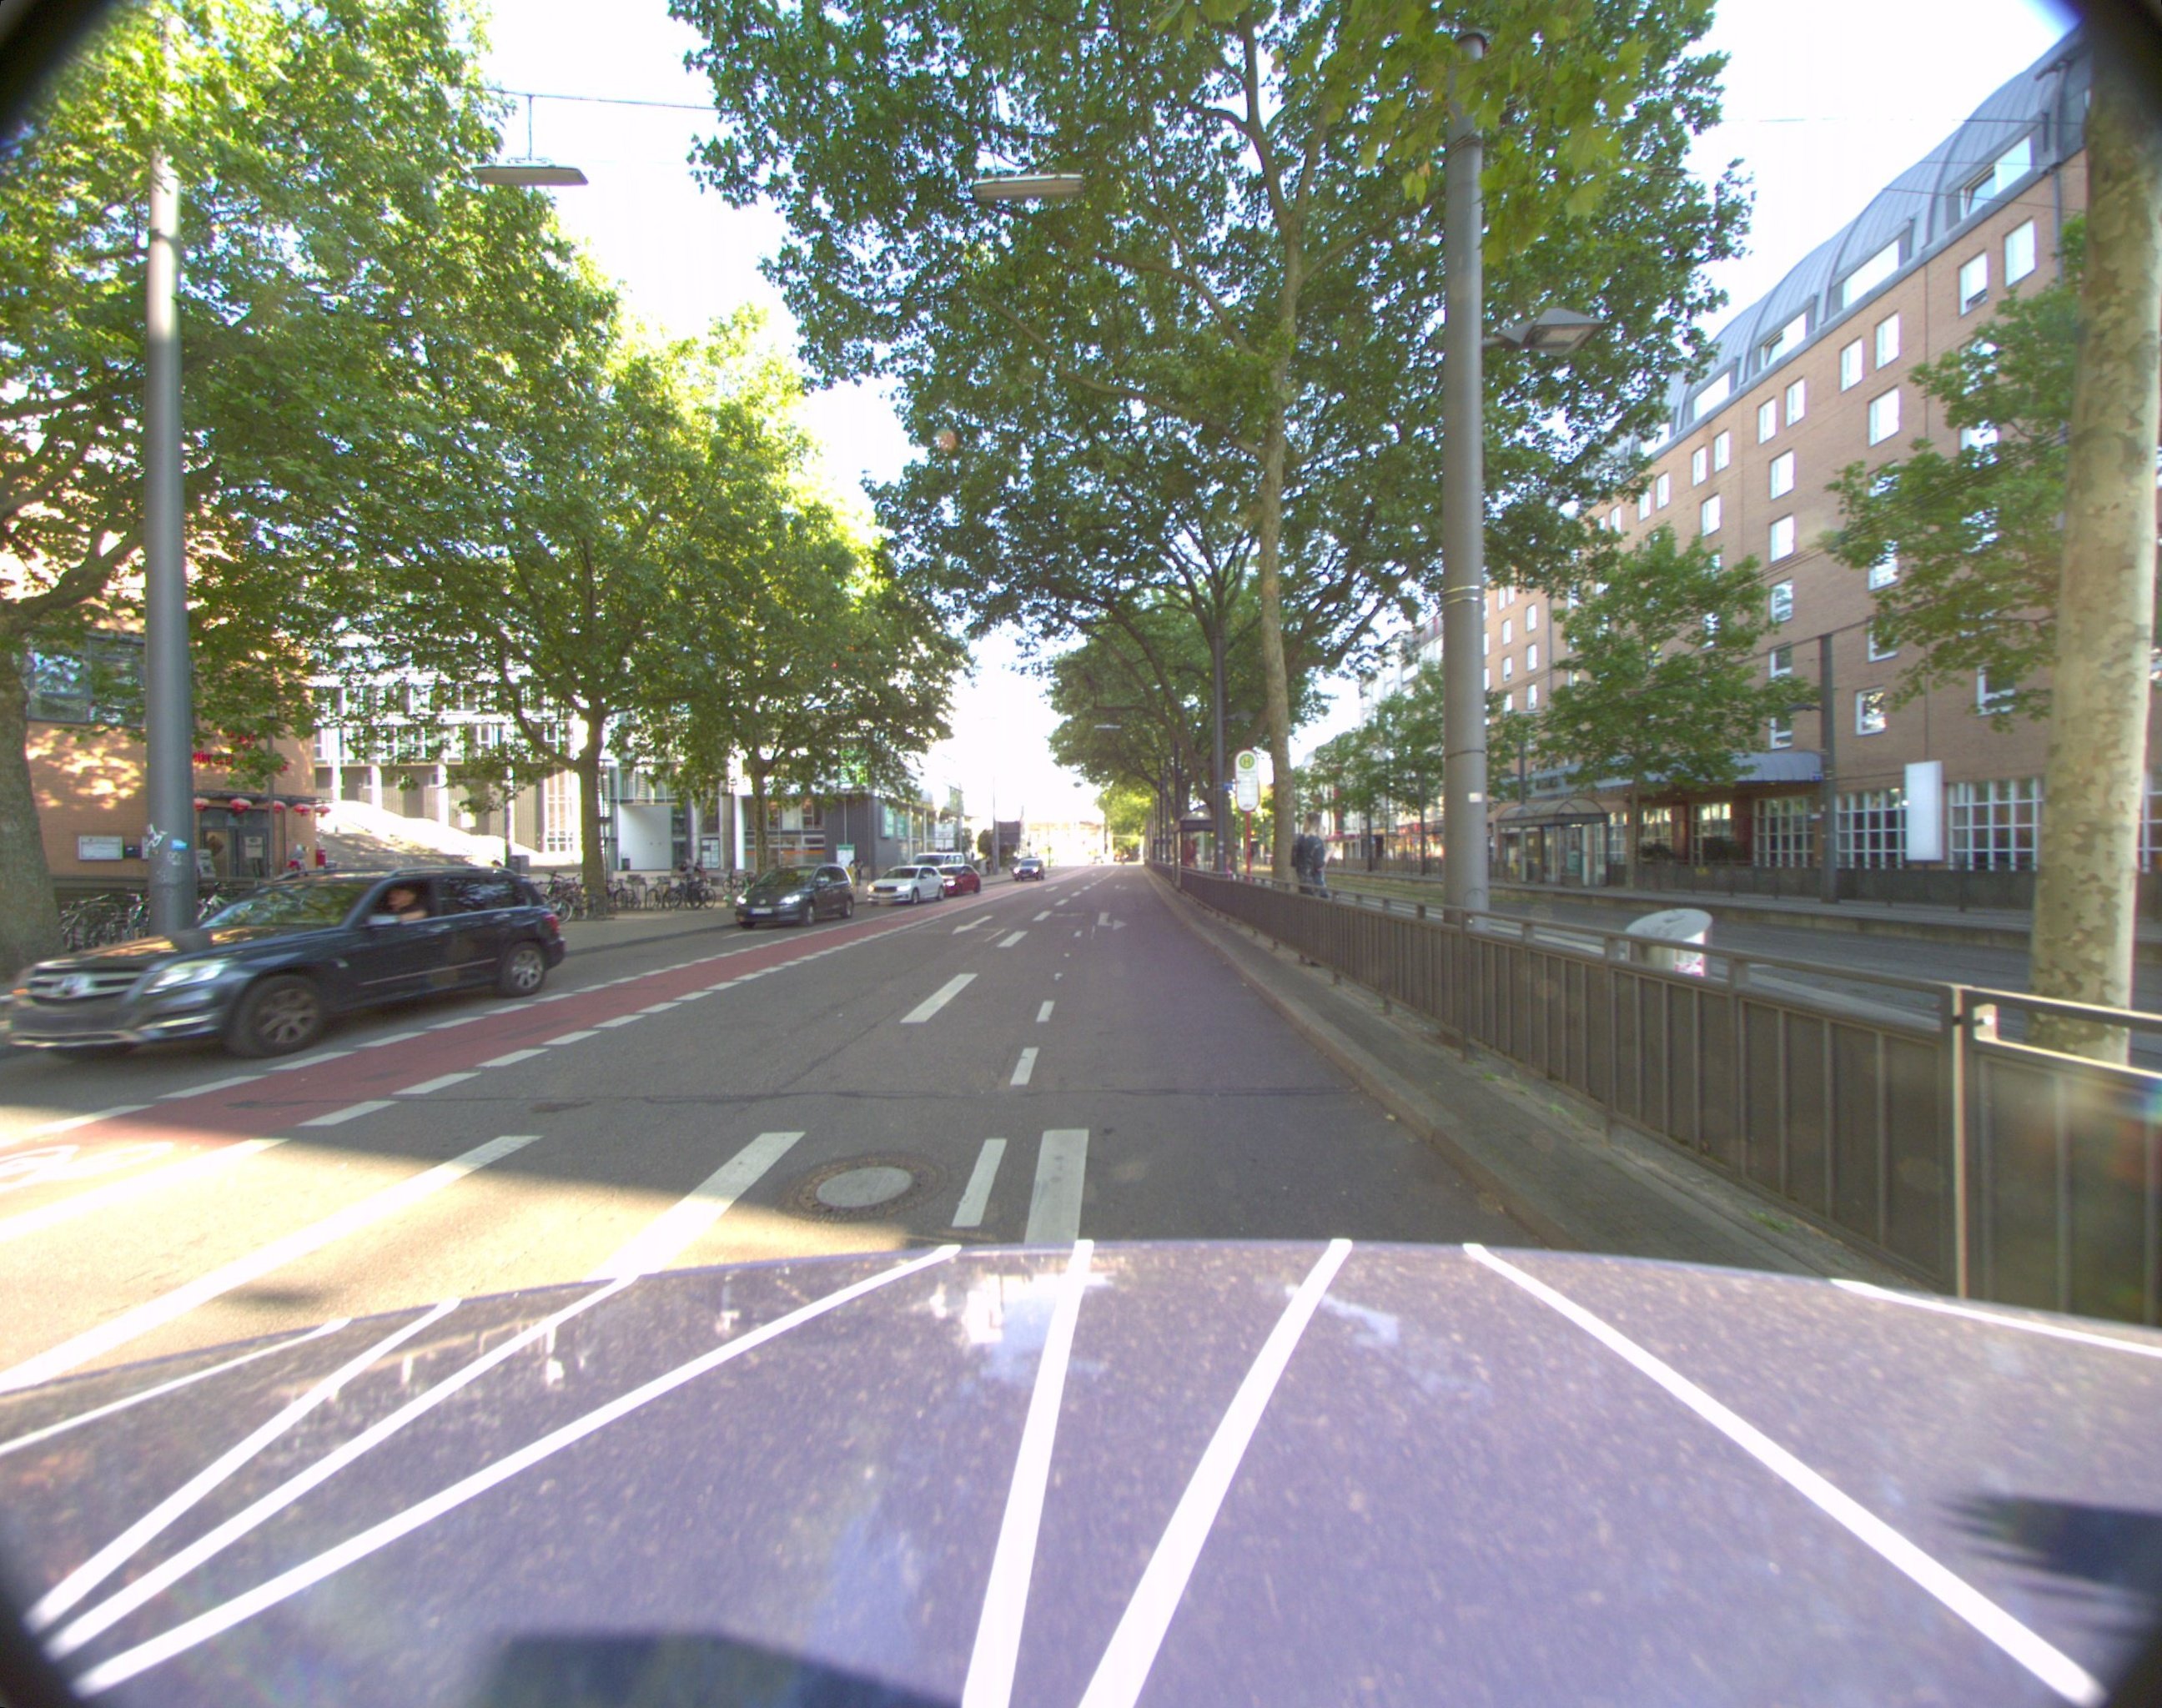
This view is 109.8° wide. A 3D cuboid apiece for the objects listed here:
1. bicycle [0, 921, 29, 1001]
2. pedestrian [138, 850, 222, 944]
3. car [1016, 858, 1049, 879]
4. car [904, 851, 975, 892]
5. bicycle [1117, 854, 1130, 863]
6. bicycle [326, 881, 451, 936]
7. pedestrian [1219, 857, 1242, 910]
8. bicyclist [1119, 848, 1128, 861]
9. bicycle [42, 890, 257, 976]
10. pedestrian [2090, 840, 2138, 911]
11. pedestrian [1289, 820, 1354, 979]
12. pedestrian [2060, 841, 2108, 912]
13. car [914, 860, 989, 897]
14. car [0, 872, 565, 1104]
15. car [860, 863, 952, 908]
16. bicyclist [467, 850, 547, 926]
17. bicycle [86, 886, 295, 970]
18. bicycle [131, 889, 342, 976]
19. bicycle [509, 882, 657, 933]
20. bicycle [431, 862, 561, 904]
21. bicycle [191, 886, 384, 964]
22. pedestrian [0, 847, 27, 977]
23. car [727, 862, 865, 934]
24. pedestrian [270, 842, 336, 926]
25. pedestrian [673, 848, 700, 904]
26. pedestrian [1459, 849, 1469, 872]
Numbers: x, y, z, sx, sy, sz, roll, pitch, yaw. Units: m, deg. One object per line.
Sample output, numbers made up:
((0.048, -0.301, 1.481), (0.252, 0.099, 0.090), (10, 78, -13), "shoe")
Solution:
((-13.403, 1.320, 7.995), (0.925, 0.943, 2.637), (-2, 1, 1), "bicycle")
((-22.701, 1.046, 19.150), (1.048, 2.235, 1.221), (-1, 1, 38), "pedestrian")
((-3.673, 1.092, 58.408), (1.784, 1.481, 4.197), (-3, 0, 7), "car")
((-7.417, 0.869, 40.428), (1.932, 1.953, 5.921), (-2, 0, 7), "car")
((6.813, 0.760, 121.752), (0.948, 1.460, 2.711), (0, 0, 34), "bicycle")
((-17.852, 1.365, 19.716), (0.699, 1.193, 2.700), (-2, 1, 1), "bicycle")
((3.867, 0.753, 19.632), (0.542, 1.310, 0.524), (-2, 1, 12), "pedestrian")
((6.825, 0.115, 121.738), (0.957, 2.002, 0.940), (-1, 1, 35), "bicyclist")
((-15.561, 1.273, 12.819), (0.657, 1.155, 2.293), (-2, 1, 3), "bicycle")
((25.420, 0.528, 18.708), (0.443, 1.725, 0.545), (0, 1, 8), "pedestrian")
((2.863, 0.527, 9.071), (0.543, 1.823, 0.524), (-2, 1, 0), "pedestrian")
((24.831, 0.556, 18.818), (0.479, 1.725, 0.545), (0, 1, 8), "pedestrian")
((-5.905, 1.101, 35.095), (1.834, 1.481, 4.199), (-3, 0, 13), "car")
((-7.778, 1.080, 7.901), (1.769, 1.626, 4.250), (-2, 0, 2), "car")
((-6.656, 1.170, 29.420), (1.834, 1.481, 4.199), (-2, 0, 12), "car")
((-15.811, 0.909, 20.953), (1.296, 2.002, 1.158), (-1, 1, 17), "bicyclist")
((-14.852, 1.186, 12.811), (0.671, 1.155, 2.305), (-2, 1, 3), "bicycle")
((-14.064, 1.257, 12.800), (0.751, 1.155, 2.398), (-2, 1, 2), "bicycle")
((-12.926, 1.354, 19.925), (0.975, 1.020, 3.208), (-2, 1, 23), "bicycle")
((-16.242, 0.772, 21.086), (3.328, 1.077, 1.150), (0, 1, 18), "bicycle")
((-13.131, 1.131, 12.721), (0.682, 1.054, 2.337), (-1, 1, 2), "bicycle")
((-17.088, 0.894, 11.463), (0.934, 2.002, 1.091), (-1, 1, -25), "pedestrian")
((-7.523, 1.099, 20.543), (1.709, 1.626, 4.392), (-2, 0, 5), "car")
((-21.277, 0.803, 20.789), (0.842, 2.220, 0.905), (-2, 1, 22), "pedestrian")
((-18.881, 1.036, 36.342), (0.981, 2.633, 0.900), (-3, 1, -31), "pedestrian")
((29.720, 0.508, 58.978), (0.504, 1.725, 0.574), (-1, 1, 3), "pedestrian")
